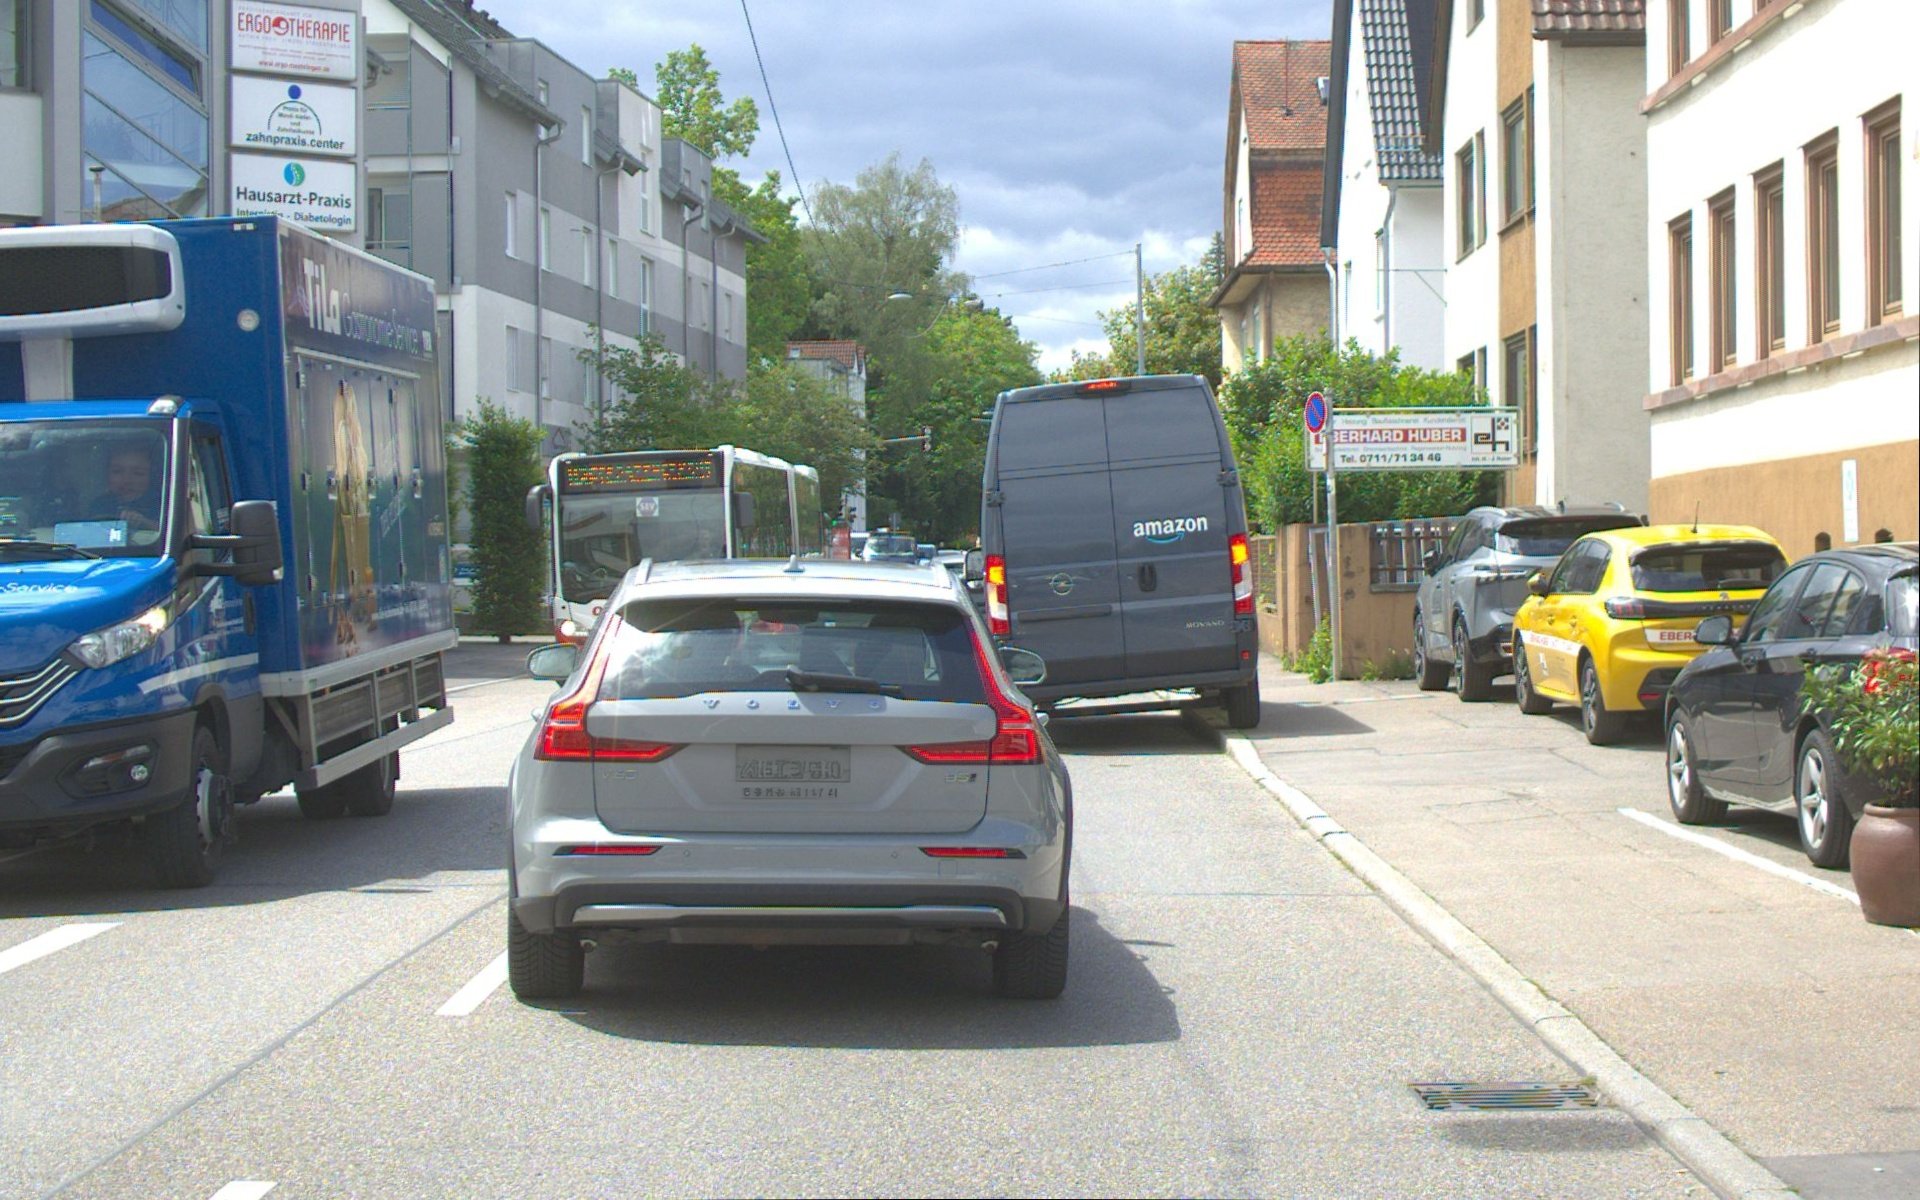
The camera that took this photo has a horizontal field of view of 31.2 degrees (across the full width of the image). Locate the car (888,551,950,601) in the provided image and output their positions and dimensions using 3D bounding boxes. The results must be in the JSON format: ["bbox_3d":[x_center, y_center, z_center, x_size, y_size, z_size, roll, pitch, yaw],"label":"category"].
[{"bbox_3d":[-1.418,-0.869,121.010,2.105,1.704,4.765,-1,1,0],"label":"car"}]

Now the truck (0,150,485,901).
[{"bbox_3d":[-4.578,-0.347,18.221,2.853,3.082,8.089,-1,1,1],"label":"truck"}]

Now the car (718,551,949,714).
[{"bbox_3d":[-1.153,0.268,33.058,1.896,1.441,3.968,1,1,2],"label":"car"}]

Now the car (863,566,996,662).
[{"bbox_3d":[-0.448,0.196,54.709,1.896,1.441,3.968,0,1,2],"label":"car"}]

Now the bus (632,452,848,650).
[{"bbox_3d":[-3.696,-0.850,59.632,2.716,3.153,8.068,-1,1,3],"label":"bus"}]

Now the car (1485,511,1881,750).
[{"bbox_3d":[5.133,0.148,24.983,1.877,1.442,4.308,-1,3,-1],"label":"car"}]

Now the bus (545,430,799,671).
[{"bbox_3d":[-4.038,-0.721,50.490,2.682,3.153,10.184,-1,1,1],"label":"bus"}]

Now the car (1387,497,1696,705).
[{"bbox_3d":[4.934,-0.034,29.774,1.860,1.606,4.586,-2,1,0],"label":"car"}]

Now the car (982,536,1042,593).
[{"bbox_3d":[1.871,-1.267,122.620,1.994,2.007,4.000,0,1,2],"label":"car"}]

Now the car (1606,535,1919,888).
[{"bbox_3d":[4.565,0.416,16.486,1.968,1.442,4.536,-1,1,-1],"label":"car"}]

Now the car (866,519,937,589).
[{"bbox_3d":[-1.851,-1.478,110.627,2.105,2.114,4.765,-3,1,0],"label":"car"}]

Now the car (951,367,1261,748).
[{"bbox_3d":[1.224,-0.354,28.171,2.253,2.786,5.569,-1,1,3],"label":"car"}]

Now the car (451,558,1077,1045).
[{"bbox_3d":[-0.612,0.591,12.465,1.896,1.448,3.969,1,1,0],"label":"car"}]
